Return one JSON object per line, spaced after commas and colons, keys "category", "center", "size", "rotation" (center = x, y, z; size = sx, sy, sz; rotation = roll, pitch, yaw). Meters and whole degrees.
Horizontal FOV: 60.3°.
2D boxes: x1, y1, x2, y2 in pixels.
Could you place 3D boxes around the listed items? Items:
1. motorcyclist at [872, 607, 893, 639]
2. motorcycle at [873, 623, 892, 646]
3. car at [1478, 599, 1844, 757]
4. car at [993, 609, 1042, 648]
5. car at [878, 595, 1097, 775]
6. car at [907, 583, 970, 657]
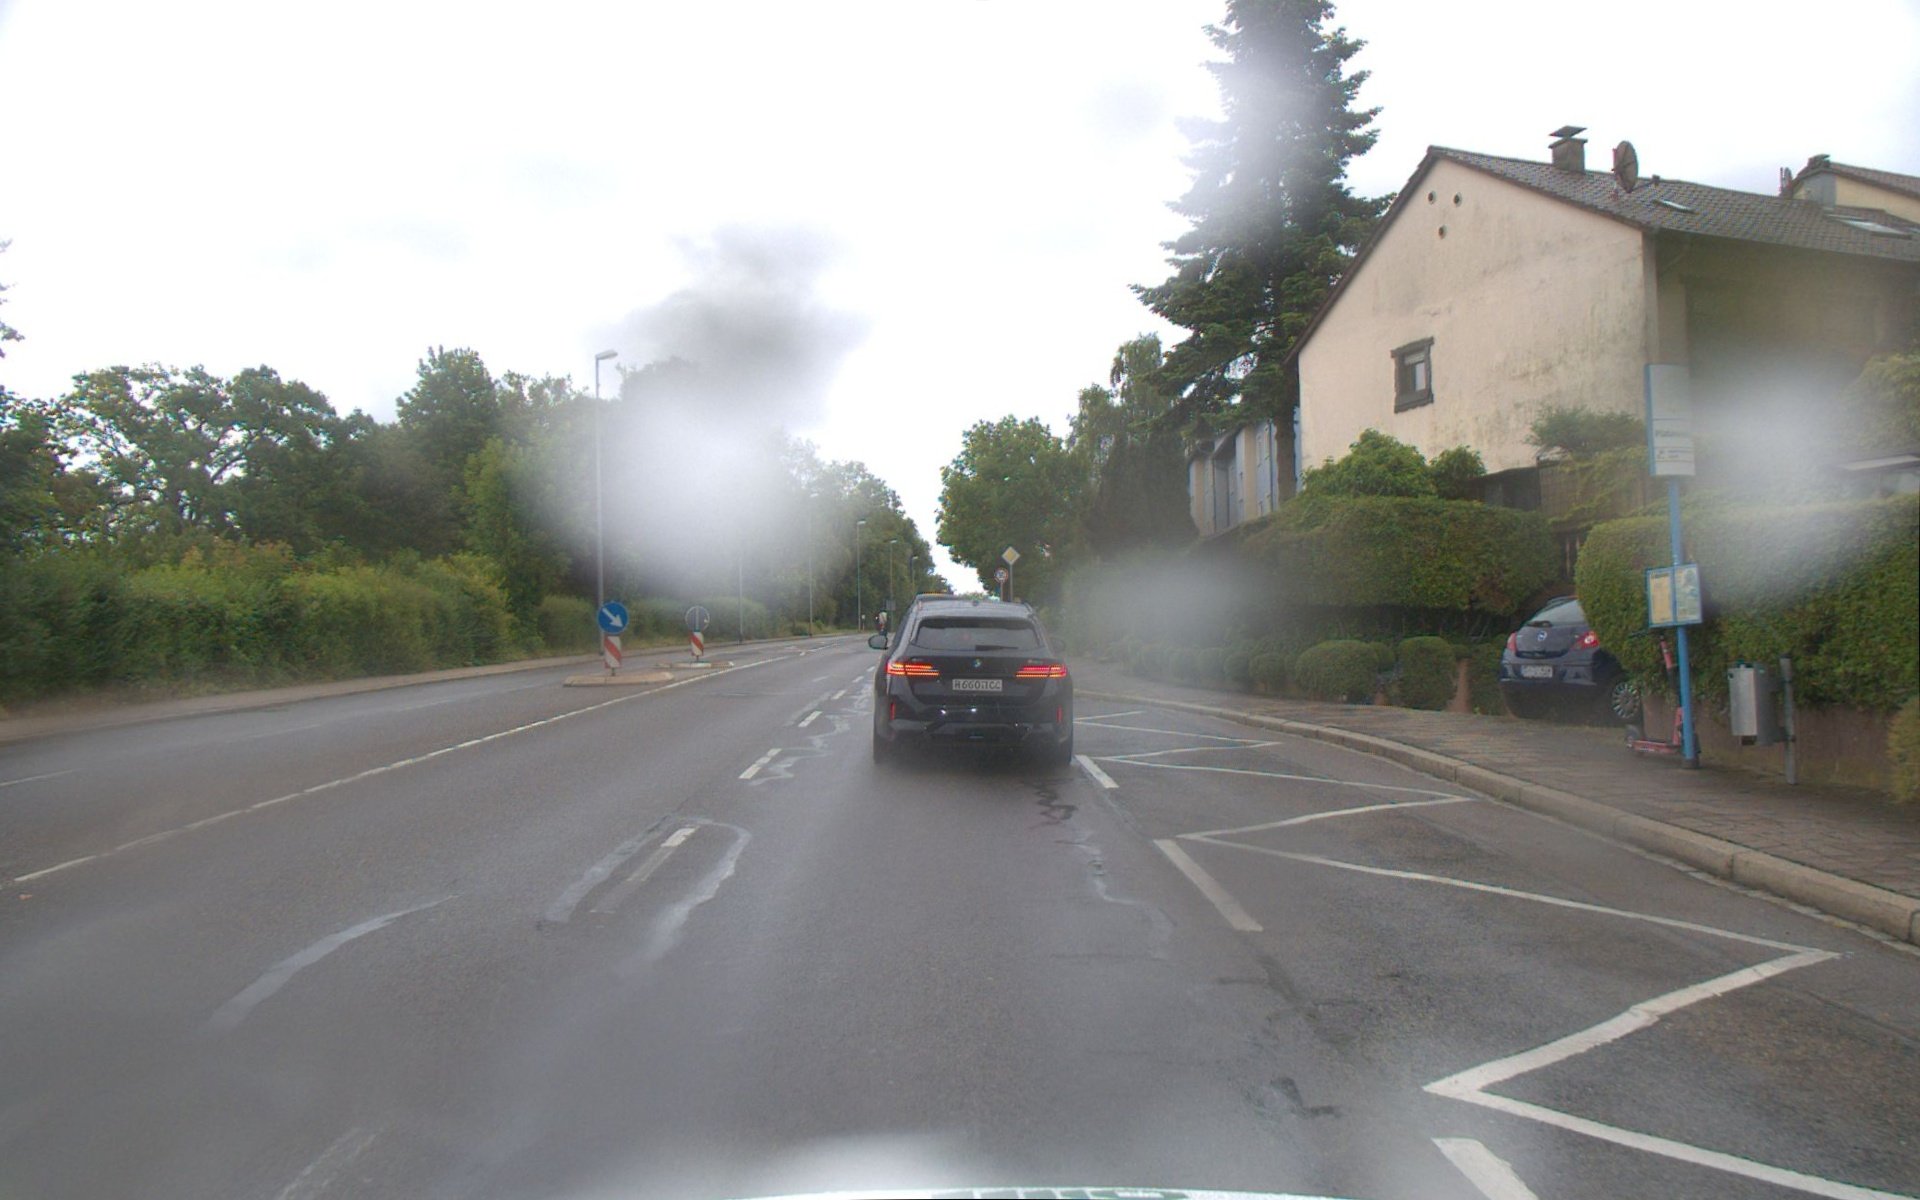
{"category": "motorcyclist", "center": [-3.991, 1.192, 85.492], "size": [1.018, 1.595, 0.855], "rotation": [1, -1, -1]}
{"category": "motorcycle", "center": [-4.003, 1.790, 85.442], "size": [0.858, 1.144, 2.740], "rotation": [-1, -1, -1]}
{"category": "car", "center": [8.036, 0.911, 18.987], "size": [3.644, 1.320, 1.761], "rotation": [8, -4, -21]}
{"category": "car", "center": [2.285, 1.108, 66.490], "size": [1.895, 1.467, 4.408], "rotation": [-1, 0, 1]}
{"category": "car", "center": [0.242, 0.745, 16.310], "size": [1.858, 1.515, 4.000], "rotation": [1, 0, 0]}
{"category": "car", "center": [-0.596, 0.515, 44.776], "size": [1.596, 1.865, 3.999], "rotation": [-1, 0, -1]}
